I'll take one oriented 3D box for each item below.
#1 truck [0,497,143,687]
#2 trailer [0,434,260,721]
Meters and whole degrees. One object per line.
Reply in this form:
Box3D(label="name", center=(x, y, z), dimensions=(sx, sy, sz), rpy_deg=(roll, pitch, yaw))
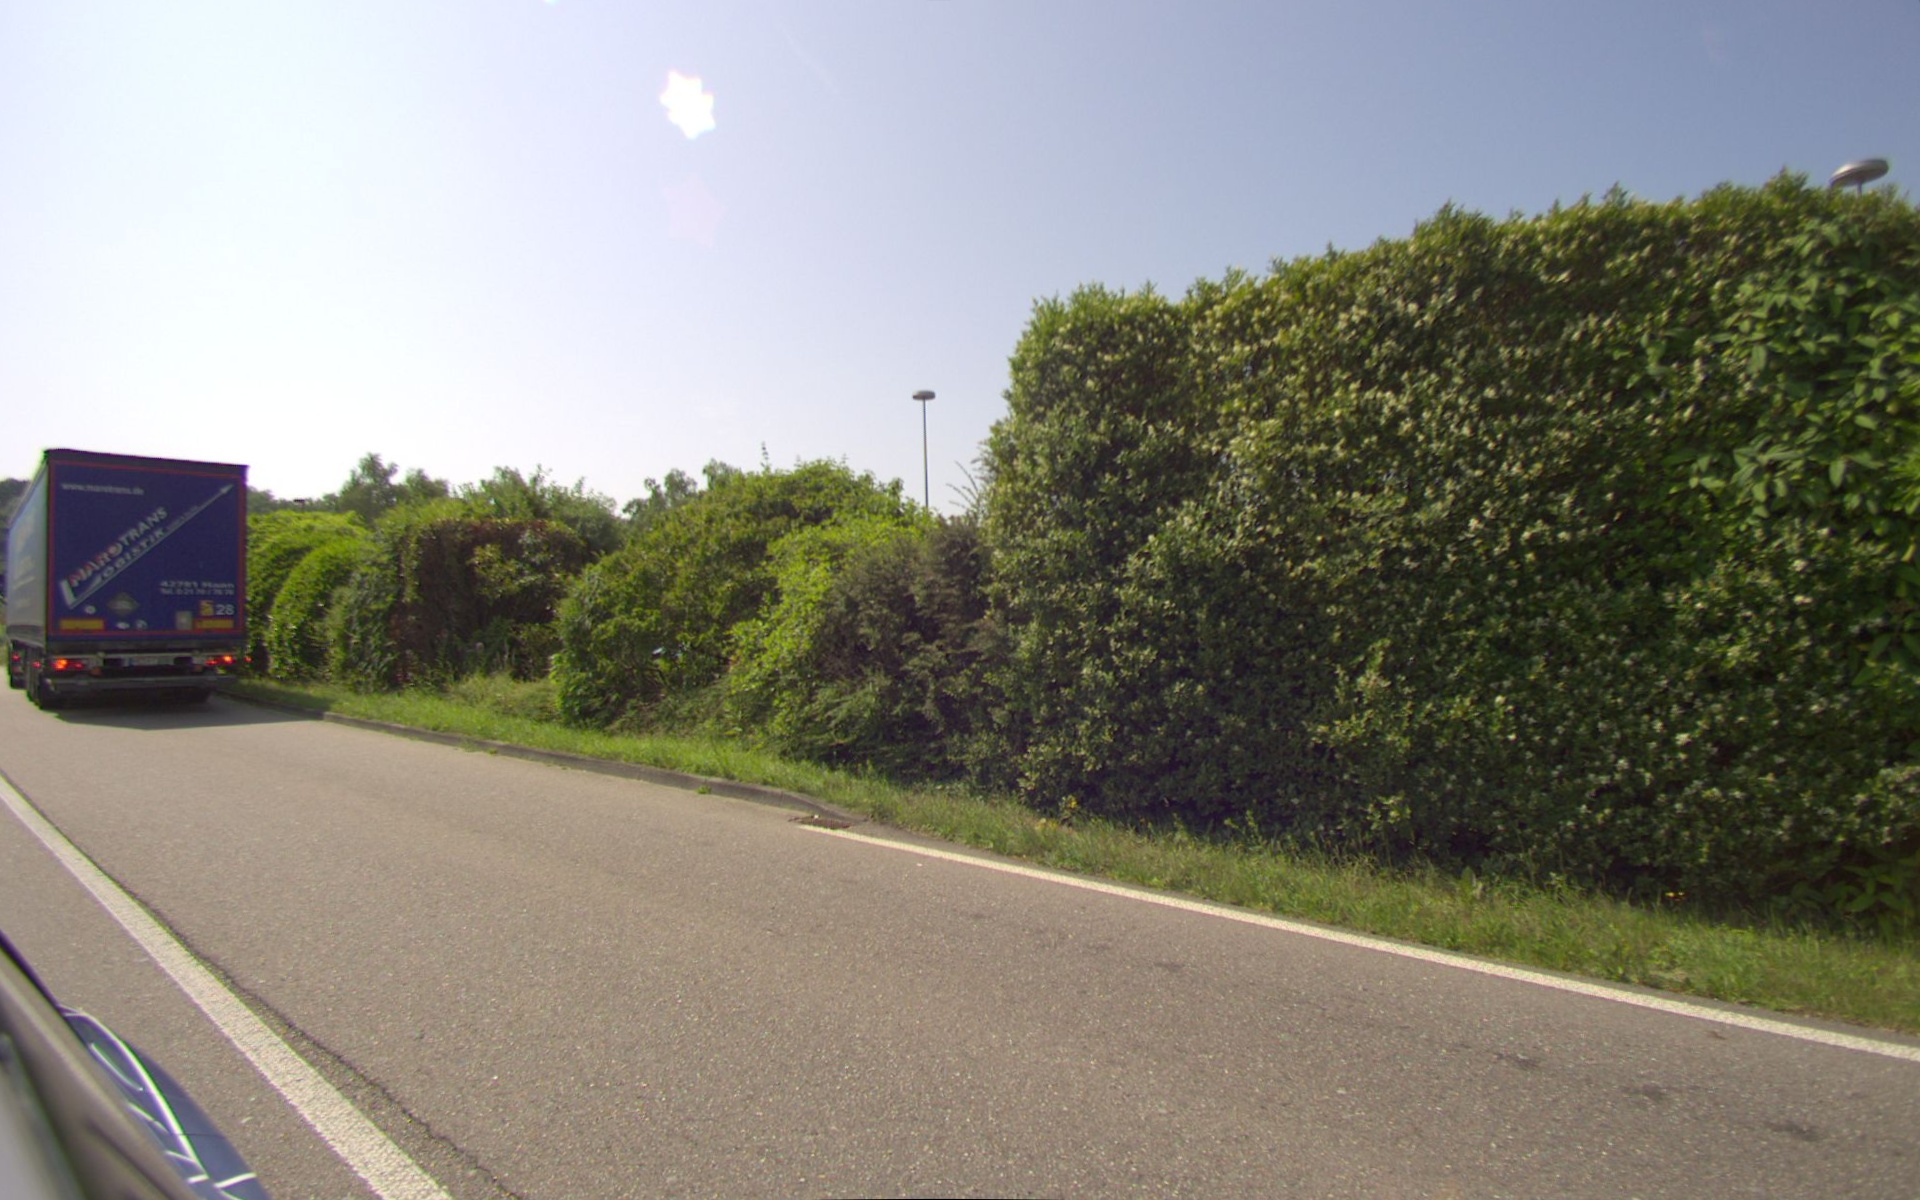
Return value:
Box3D(label="truck", center=(-23.062, -0.108, 25.891), dimensions=(6.113, 4.290, 2.485), rpy_deg=(-1, -2, 43))
Box3D(label="trailer", center=(-17.936, -0.230, 21.076), dimensions=(14.569, 4.273, 2.640), rpy_deg=(-1, 0, 44))
